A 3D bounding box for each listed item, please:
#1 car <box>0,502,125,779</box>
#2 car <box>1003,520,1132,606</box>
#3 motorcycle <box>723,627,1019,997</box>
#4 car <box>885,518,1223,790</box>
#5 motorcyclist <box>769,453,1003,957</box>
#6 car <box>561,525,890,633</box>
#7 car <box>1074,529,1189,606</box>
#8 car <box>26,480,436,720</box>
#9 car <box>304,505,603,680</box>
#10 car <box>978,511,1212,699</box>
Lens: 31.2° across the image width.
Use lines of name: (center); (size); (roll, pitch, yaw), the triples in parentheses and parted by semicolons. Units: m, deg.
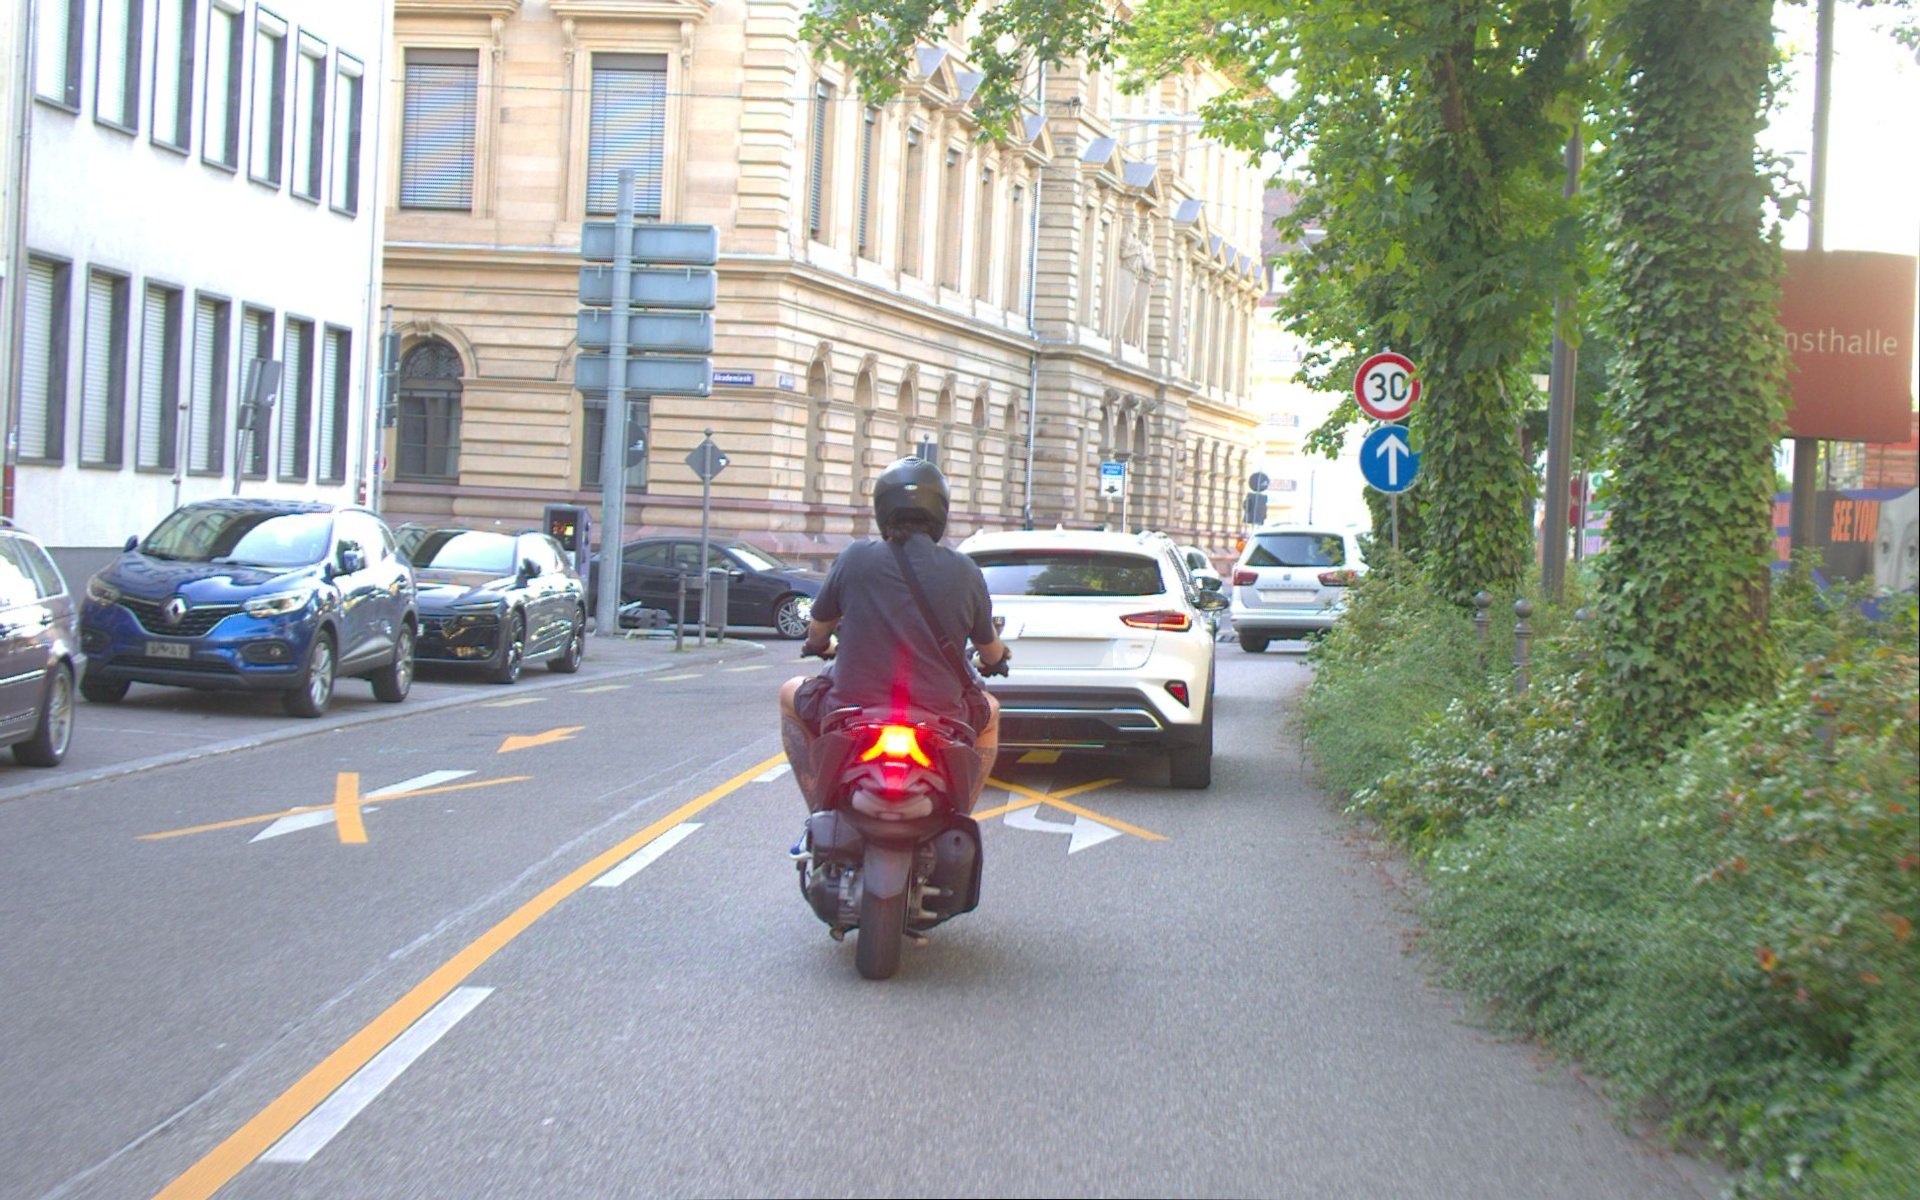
car: (-5.956, 0.190, 18.682); (1.653, 1.475, 4.428); (2, 1, 1)
car: (2.134, -0.737, 67.244); (1.994, 1.561, 4.287); (2, 1, 9)
motorcycle: (-0.267, 0.670, 11.645); (0.796, 1.062, 1.725); (4, 1, 3)
car: (0.656, 0.250, 21.010); (1.851, 1.475, 4.057); (1, 1, 4)
motorcyclist: (-0.244, 0.345, 11.810); (0.657, 1.645, 0.650); (4, 1, 3)
car: (-3.322, -0.321, 48.927); (4.316, 1.385, 1.775); (2, 1, 14)
car: (3.667, -0.710, 72.790); (1.994, 1.523, 4.183); (2, 1, 9)
car: (-5.588, -0.048, 26.924); (1.934, 1.662, 4.346); (2, 1, 5)
car: (-4.911, -0.119, 34.006); (1.824, 1.498, 4.759); (4, 1, 4)
car: (1.275, 0.006, 30.820); (1.840, 1.458, 4.057); (4, 1, 5)
